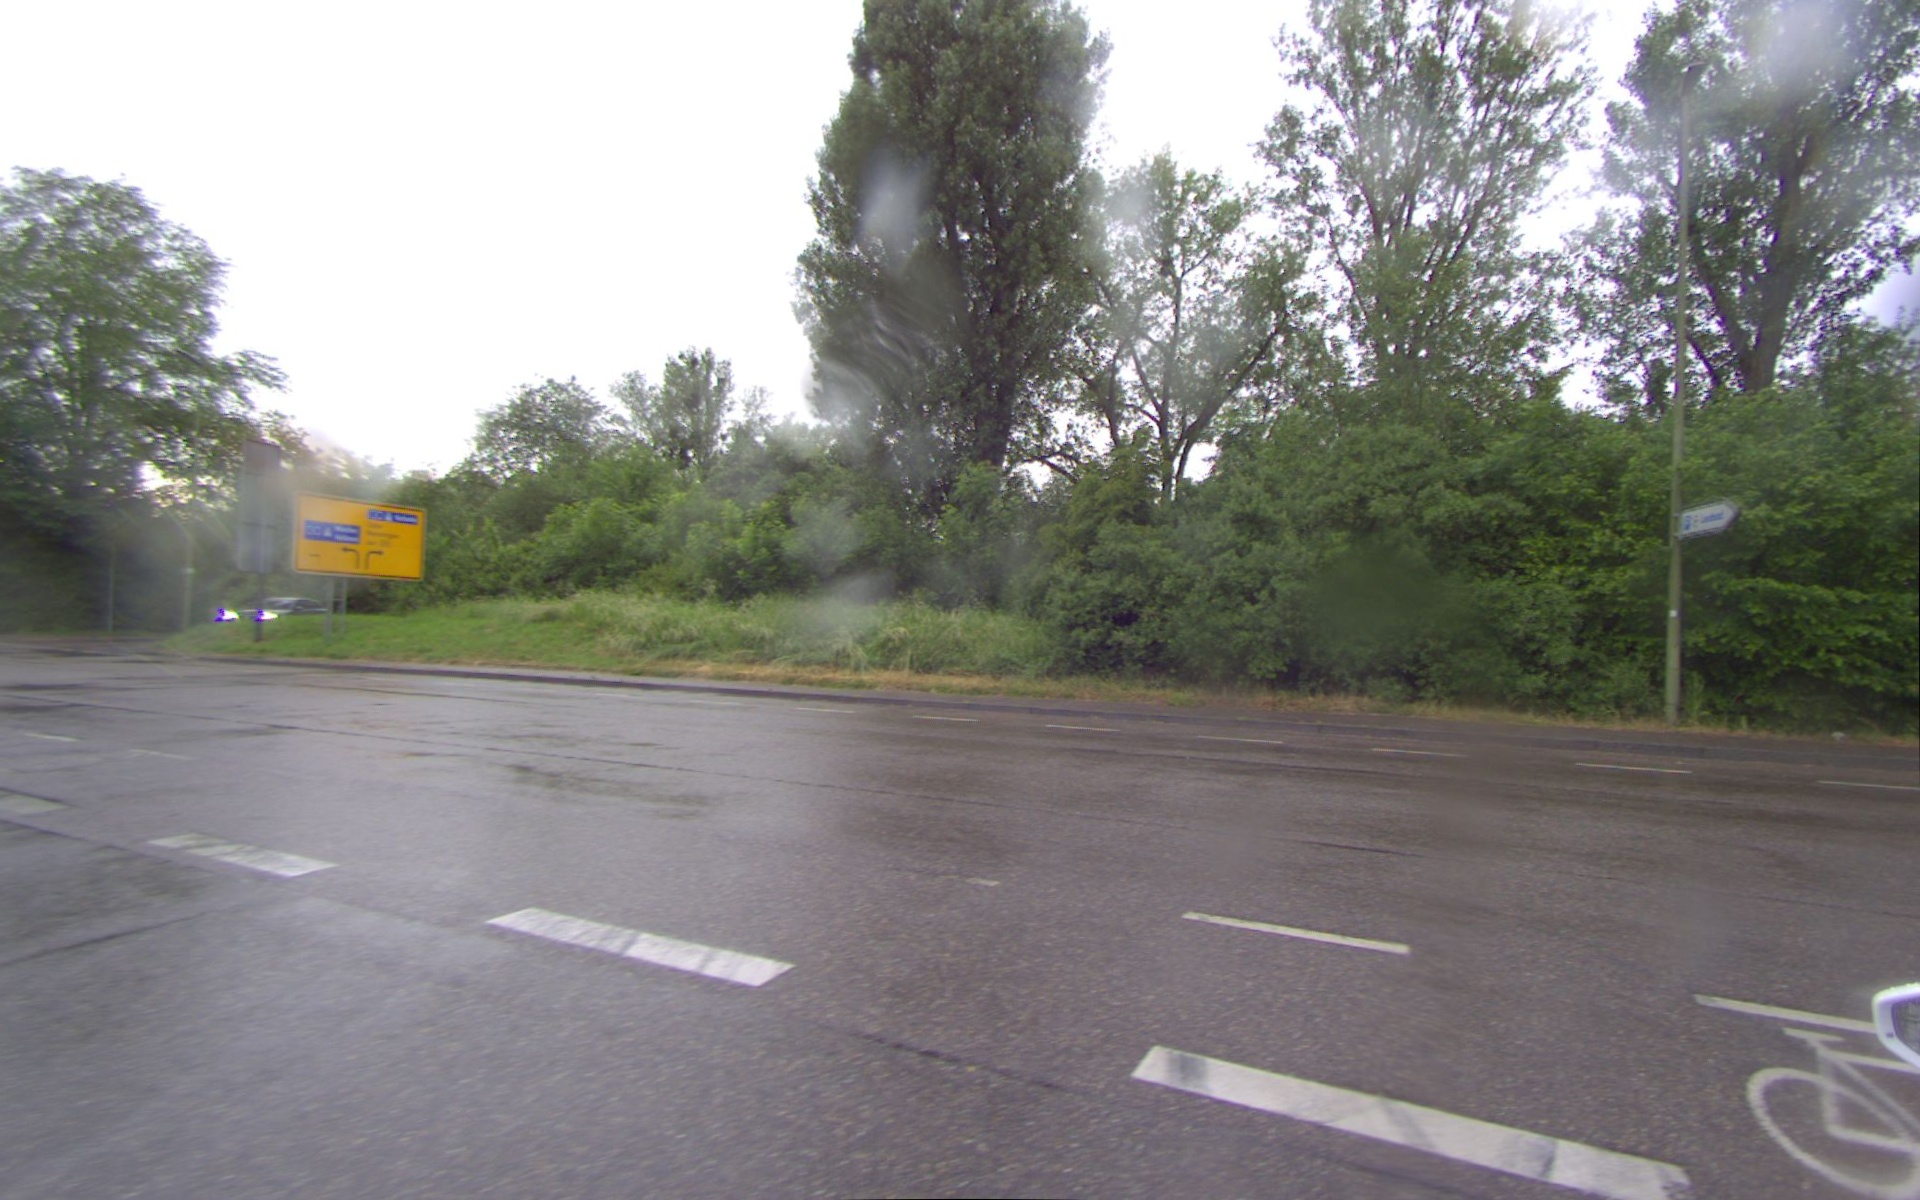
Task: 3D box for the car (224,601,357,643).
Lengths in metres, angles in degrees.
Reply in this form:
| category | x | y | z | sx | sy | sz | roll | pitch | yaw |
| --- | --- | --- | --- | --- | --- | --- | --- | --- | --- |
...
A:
| category | x | y | z | sx | sy | sz | roll | pitch | yaw |
| --- | --- | --- | --- | --- | --- | --- | --- | --- | --- |
| car | -25.907 | 0.845 | 39.063 | 1.819 | 1.509 | 4.123 | 1 | -1 | 14 |
